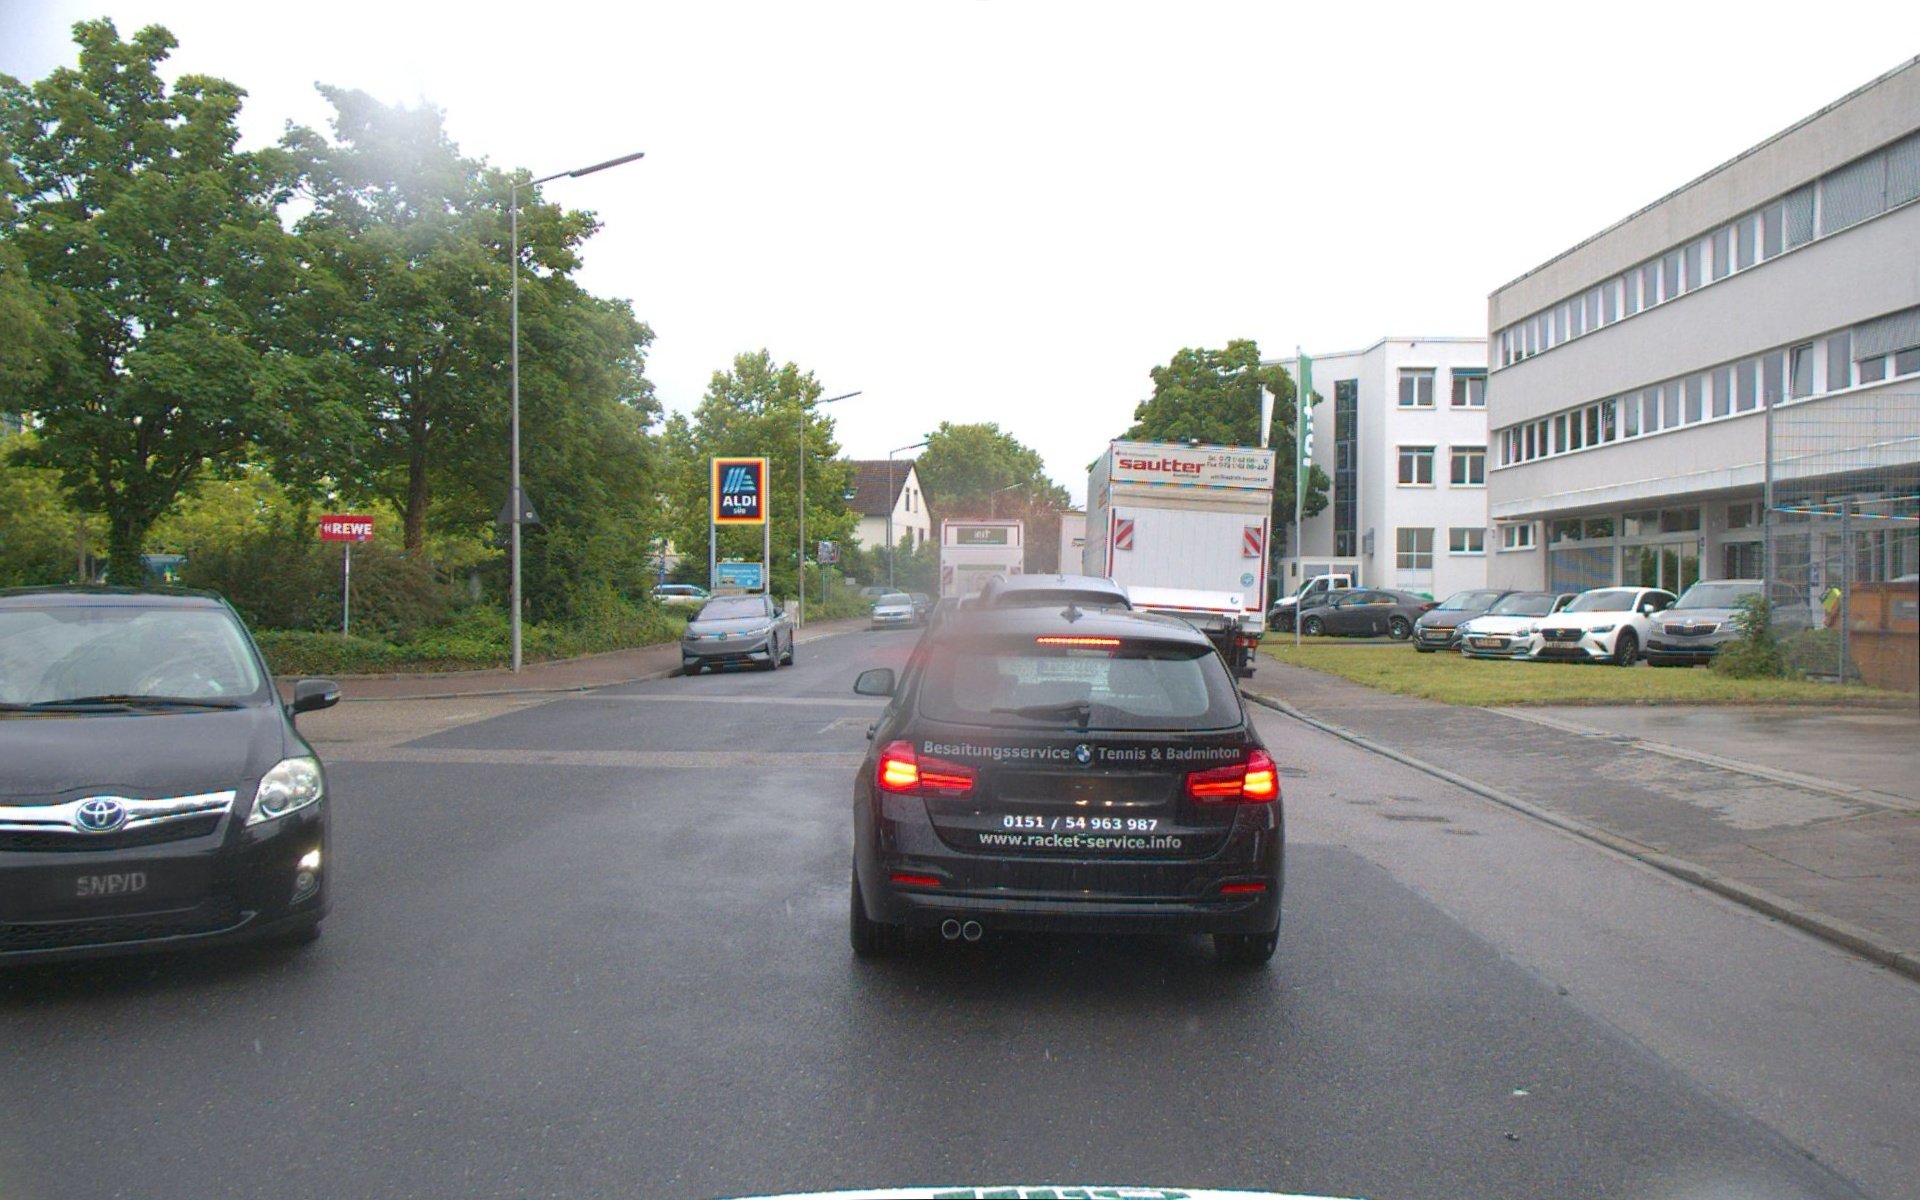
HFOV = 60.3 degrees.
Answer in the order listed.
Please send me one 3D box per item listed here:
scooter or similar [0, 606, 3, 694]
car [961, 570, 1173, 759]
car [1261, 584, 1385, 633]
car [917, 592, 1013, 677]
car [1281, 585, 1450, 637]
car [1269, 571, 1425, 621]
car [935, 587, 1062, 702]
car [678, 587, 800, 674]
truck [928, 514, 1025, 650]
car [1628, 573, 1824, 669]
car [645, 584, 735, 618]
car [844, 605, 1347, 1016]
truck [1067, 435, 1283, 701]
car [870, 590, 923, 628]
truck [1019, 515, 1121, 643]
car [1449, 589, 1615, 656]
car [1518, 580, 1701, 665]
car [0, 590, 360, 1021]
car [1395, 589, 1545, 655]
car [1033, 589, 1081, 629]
[{"bbox_3d":[-13.215,0.677,21.958,0.277,1.196,1.061,0,0,8],"label":"scooter or similar"},{"bbox_3d":[0.933,0.564,16.414,1.767,1.614,3.999,1,0,-1],"label":"car"},{"bbox_3d":[12.214,0.264,55.768,3.713,1.420,1.717,4,3,41],"label":"car"},{"bbox_3d":[0.064,0.645,33.097,1.767,1.579,3.999,1,0,-1],"label":"car"},{"bbox_3d":[12.016,0.292,49.190,4.588,1.493,1.782,0,0,39],"label":"car"},{"bbox_3d":[16.915,-0.174,72.411,6.325,2.049,1.999,1,0,-4],"label":"car"},{"bbox_3d":[0.512,0.621,25.196,1.767,1.579,3.999,1,0,-1],"label":"car"},{"bbox_3d":[-4.478,0.581,34.112,1.772,1.555,4.748,-4,0,0],"label":"car"},{"bbox_3d":[0.460,-0.647,45.540,2.293,3.312,7.753,3,3,1],"label":"truck"},{"bbox_3d":[13.378,0.327,28.788,3.970,1.554,1.843,0,1,-45],"label":"car"},{"bbox_3d":[-12.857,0.037,78.949,3.904,1.567,1.911,0,0,2],"label":"car"},{"bbox_3d":[0.457,0.756,7.872,1.767,1.419,3.999,1,0,-1],"label":"car"},{"bbox_3d":[3.536,-0.514,29.498,2.685,3.855,9.301,3,0,1],"label":"truck"},{"bbox_3d":[-2.543,0.346,67.181,1.670,1.391,4.603,-2,0,3],"label":"car"},{"bbox_3d":[3.400,-0.645,52.875,2.685,3.674,7.751,2,0,1],"label":"truck"},{"bbox_3d":[11.922,0.423,34.352,3.969,1.309,1.679,0,1,-44],"label":"car"},{"bbox_3d":[12.261,0.379,31.108,3.969,1.496,1.747,0,1,-44],"label":"car"},{"bbox_3d":[-3.943,0.699,7.608,1.711,1.466,3.964,-1,1,-28],"label":"car"},{"bbox_3d":[11.548,0.459,37.343,3.739,1.417,1.679,0,1,-44],"label":"car"},{"bbox_3d":[3.900,0.339,67.051,1.864,1.567,4.002,0,0,3],"label":"car"}]
